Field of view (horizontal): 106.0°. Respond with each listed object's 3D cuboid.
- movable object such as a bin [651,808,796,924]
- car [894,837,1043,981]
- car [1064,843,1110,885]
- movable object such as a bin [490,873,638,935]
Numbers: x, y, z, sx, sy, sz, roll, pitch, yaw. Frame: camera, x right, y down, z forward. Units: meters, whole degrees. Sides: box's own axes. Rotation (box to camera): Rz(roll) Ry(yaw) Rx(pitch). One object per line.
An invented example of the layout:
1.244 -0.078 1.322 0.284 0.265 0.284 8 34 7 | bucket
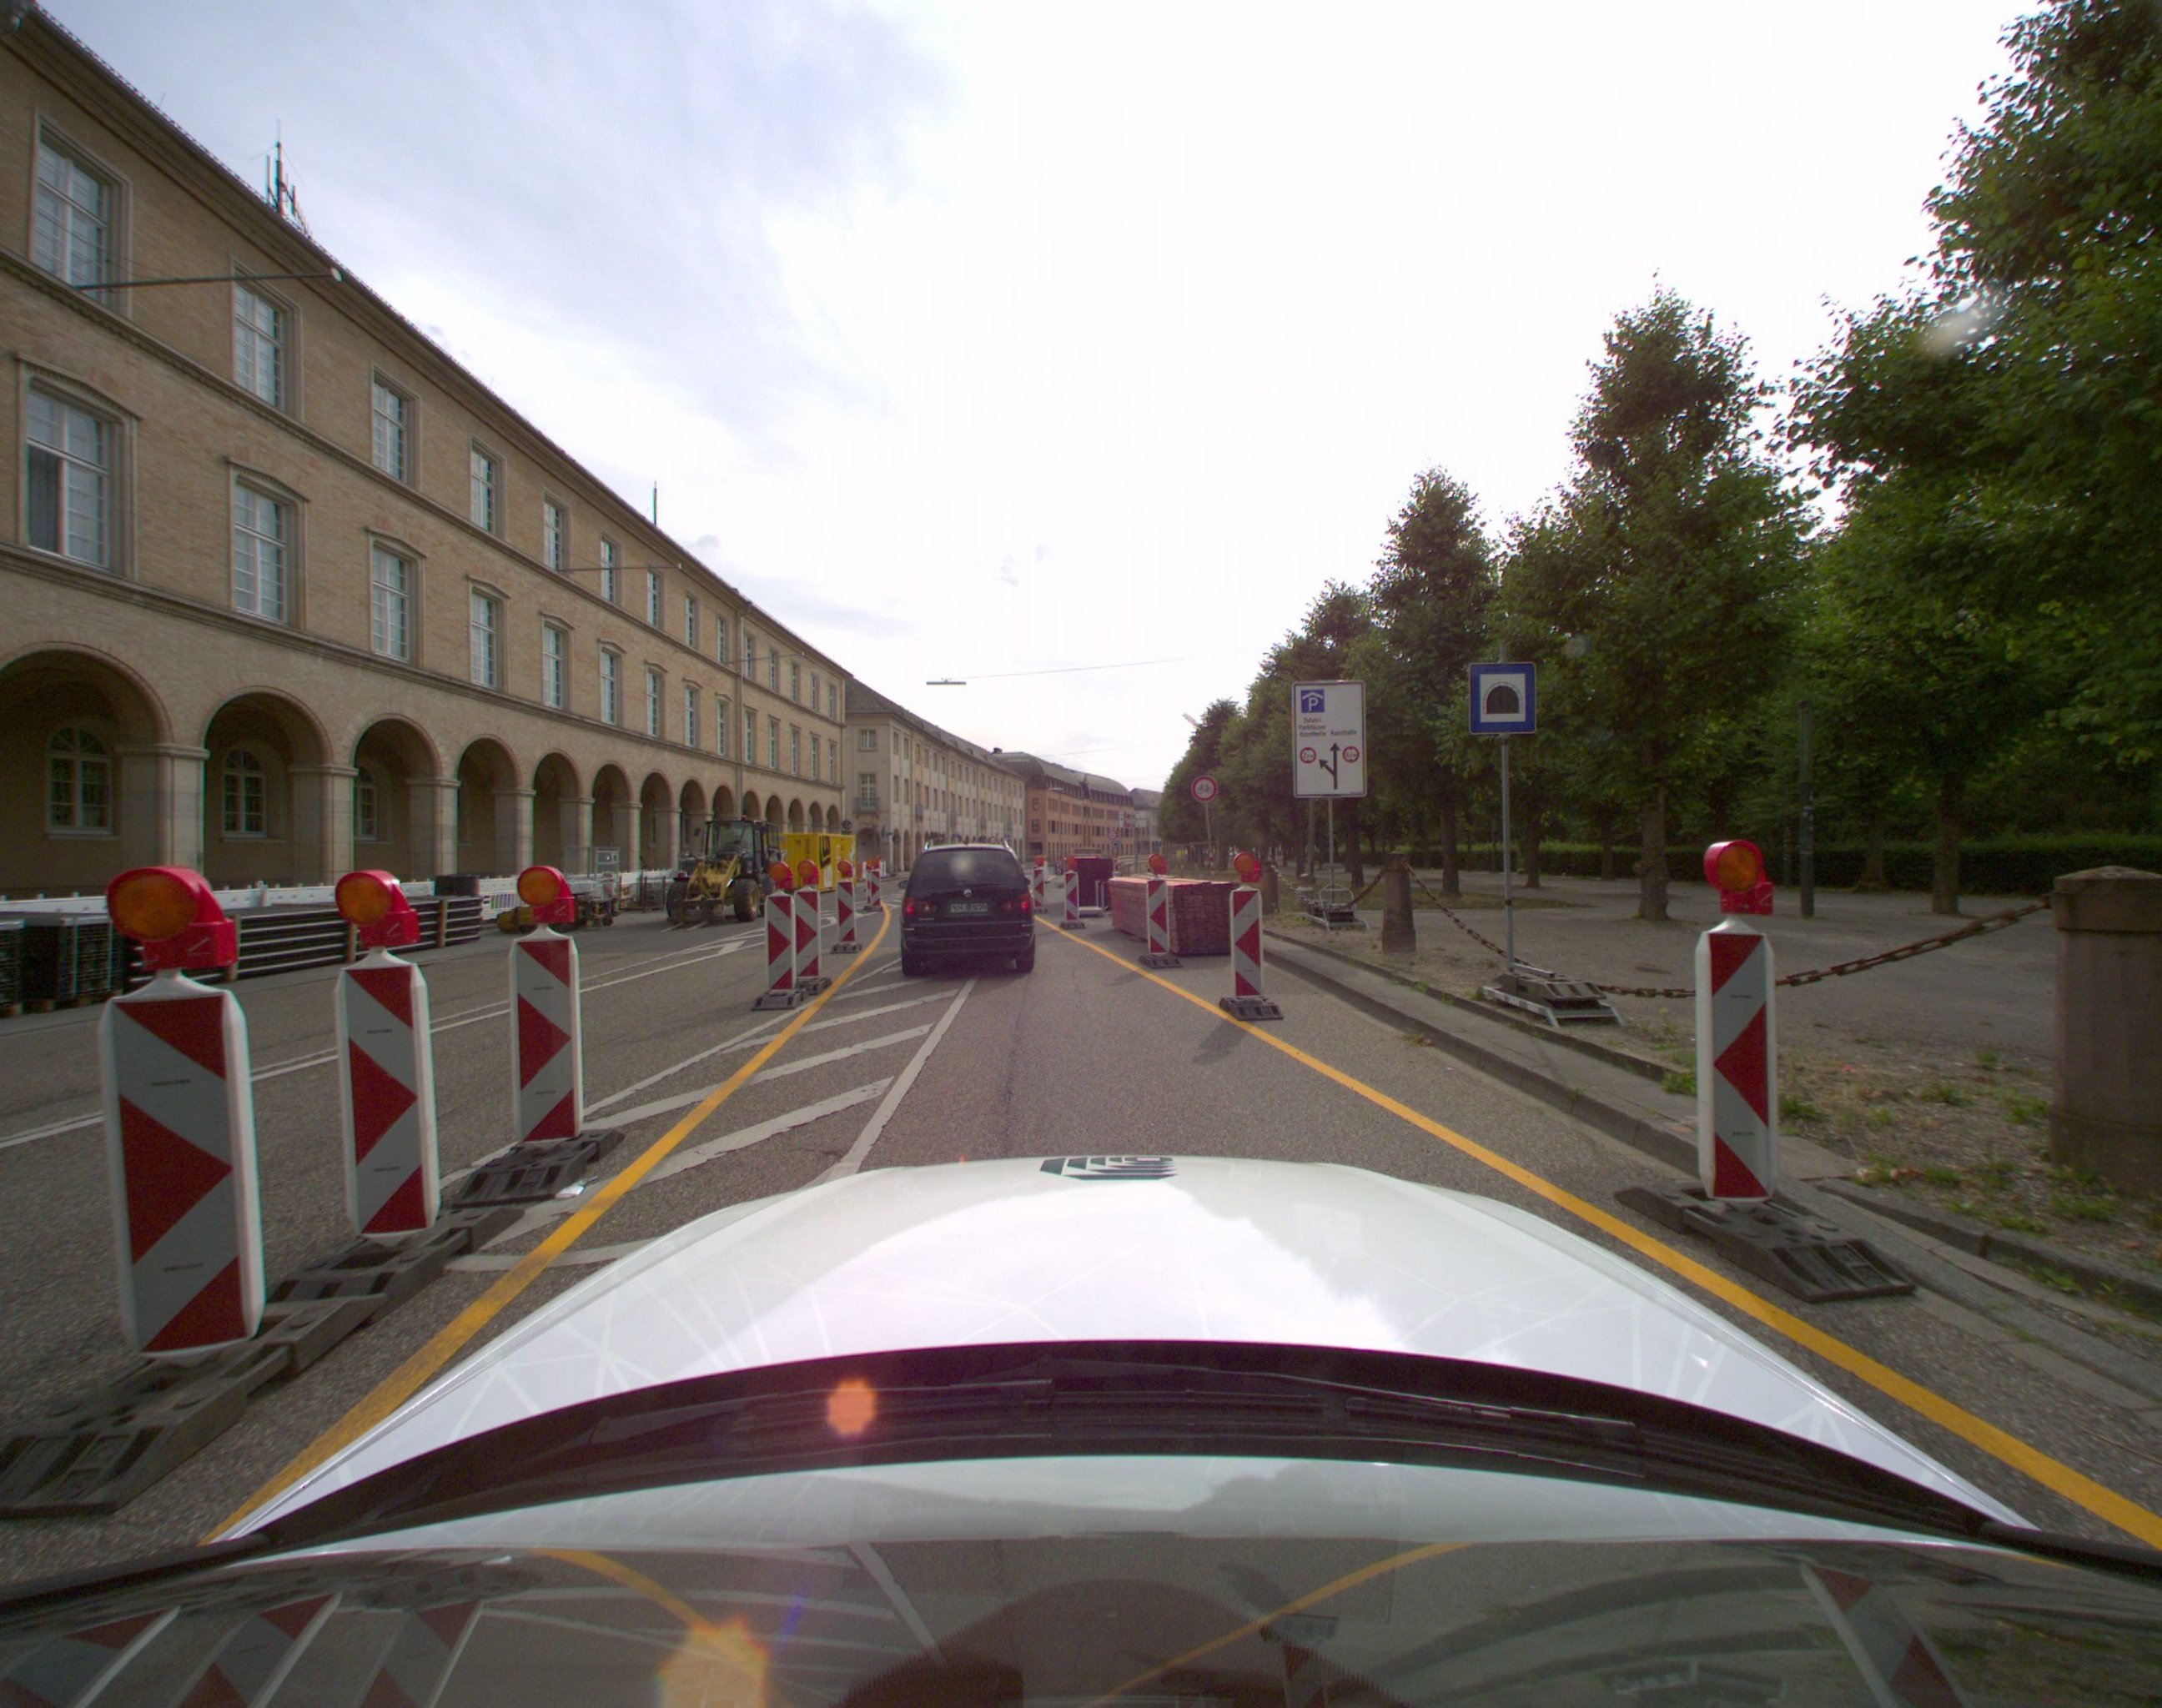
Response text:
-9.212 0.286 21.489 2.112 2.718 4.610 -1 0 -5 | movable object such as a bin
-1.737 0.659 12.000 1.794 1.708 4.116 -1 0 -11 | car
0.251 0.490 43.276 1.991 2.013 4.337 -1 2 -6 | car
-12.033 1.132 19.165 1.803 1.124 2.745 2 2 -4 | movable object such as a bin
